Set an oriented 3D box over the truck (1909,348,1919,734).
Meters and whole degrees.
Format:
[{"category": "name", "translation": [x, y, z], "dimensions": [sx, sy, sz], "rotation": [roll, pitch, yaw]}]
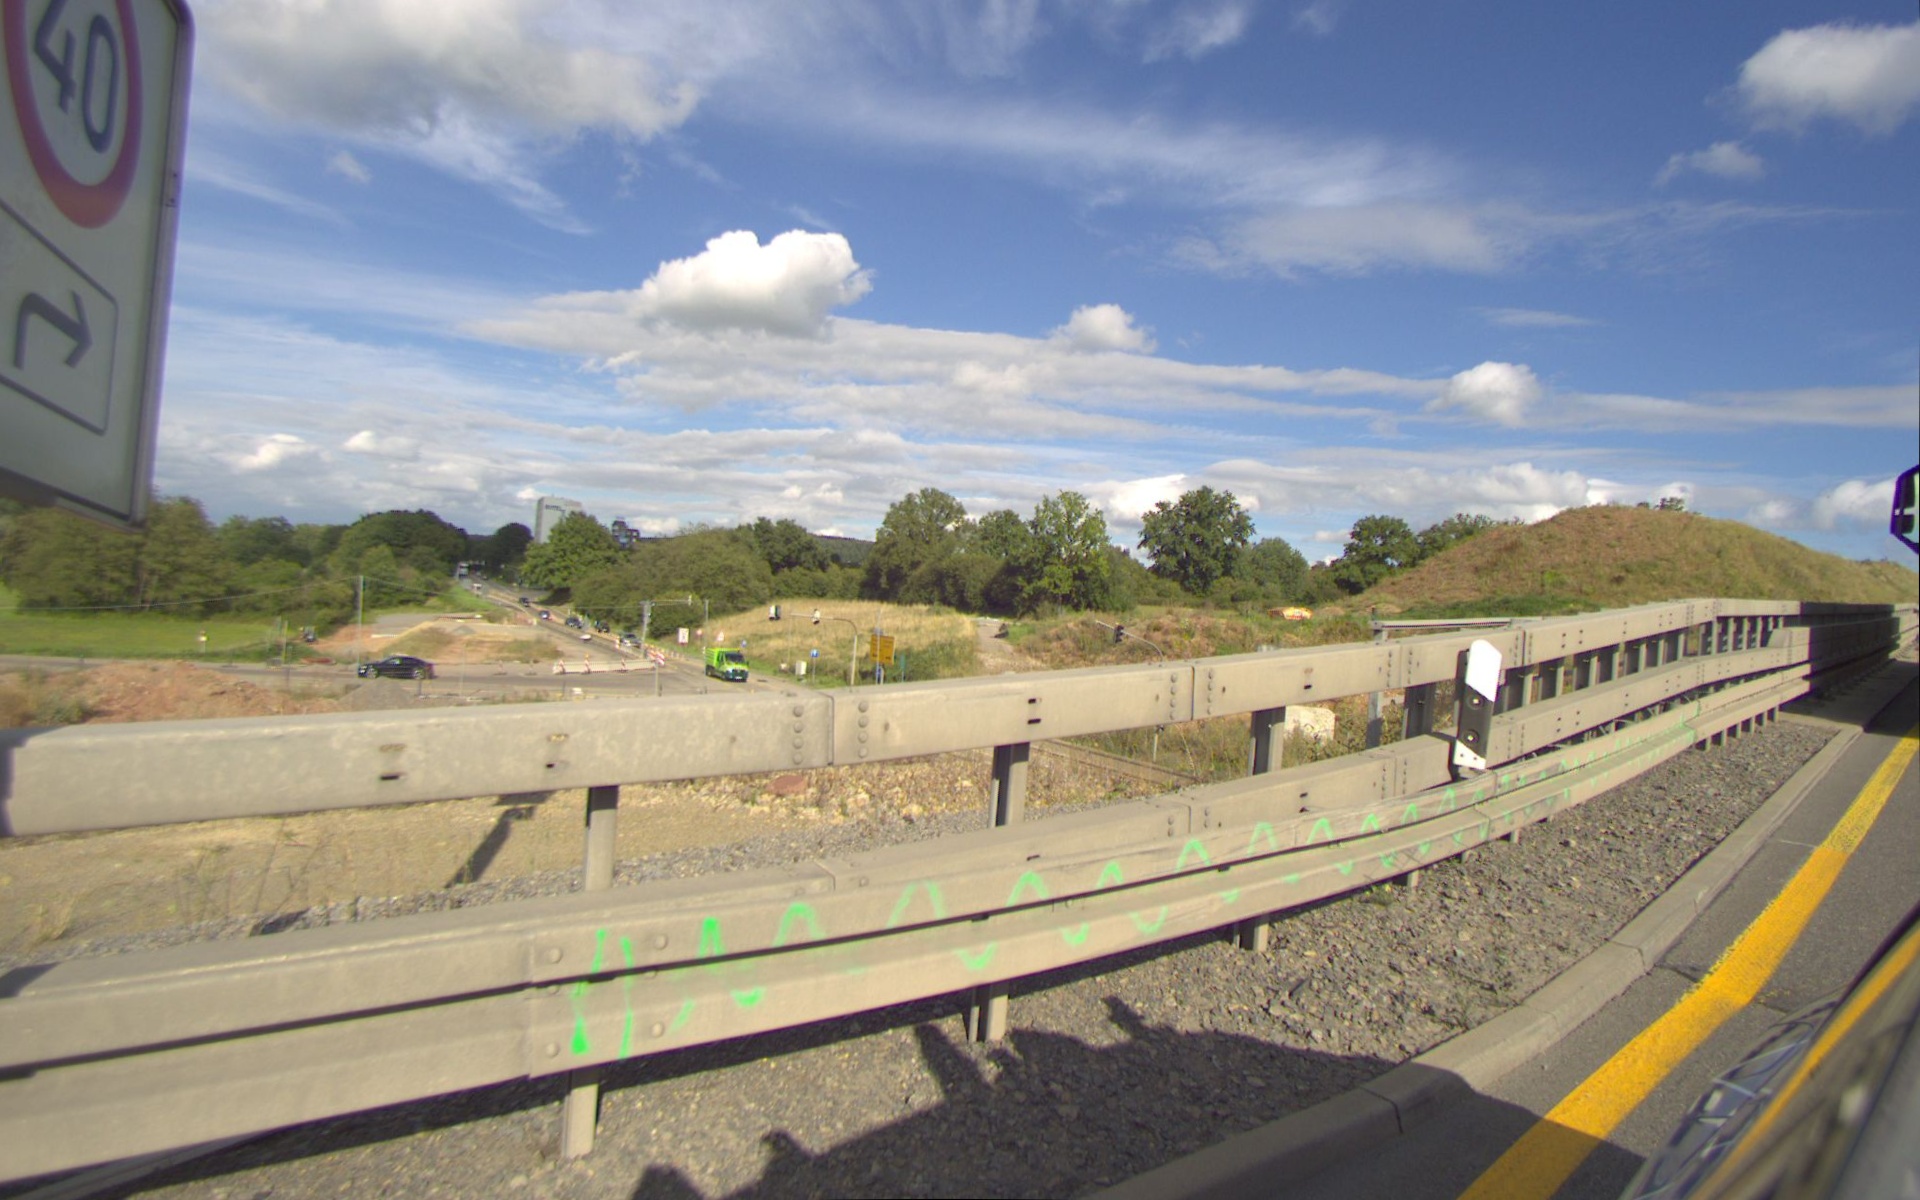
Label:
[{"category": "truck", "translation": [14.220, -0.637, 12.776], "dimensions": [10.146, 3.895, 2.659], "rotation": [-1, 2, -44]}]
